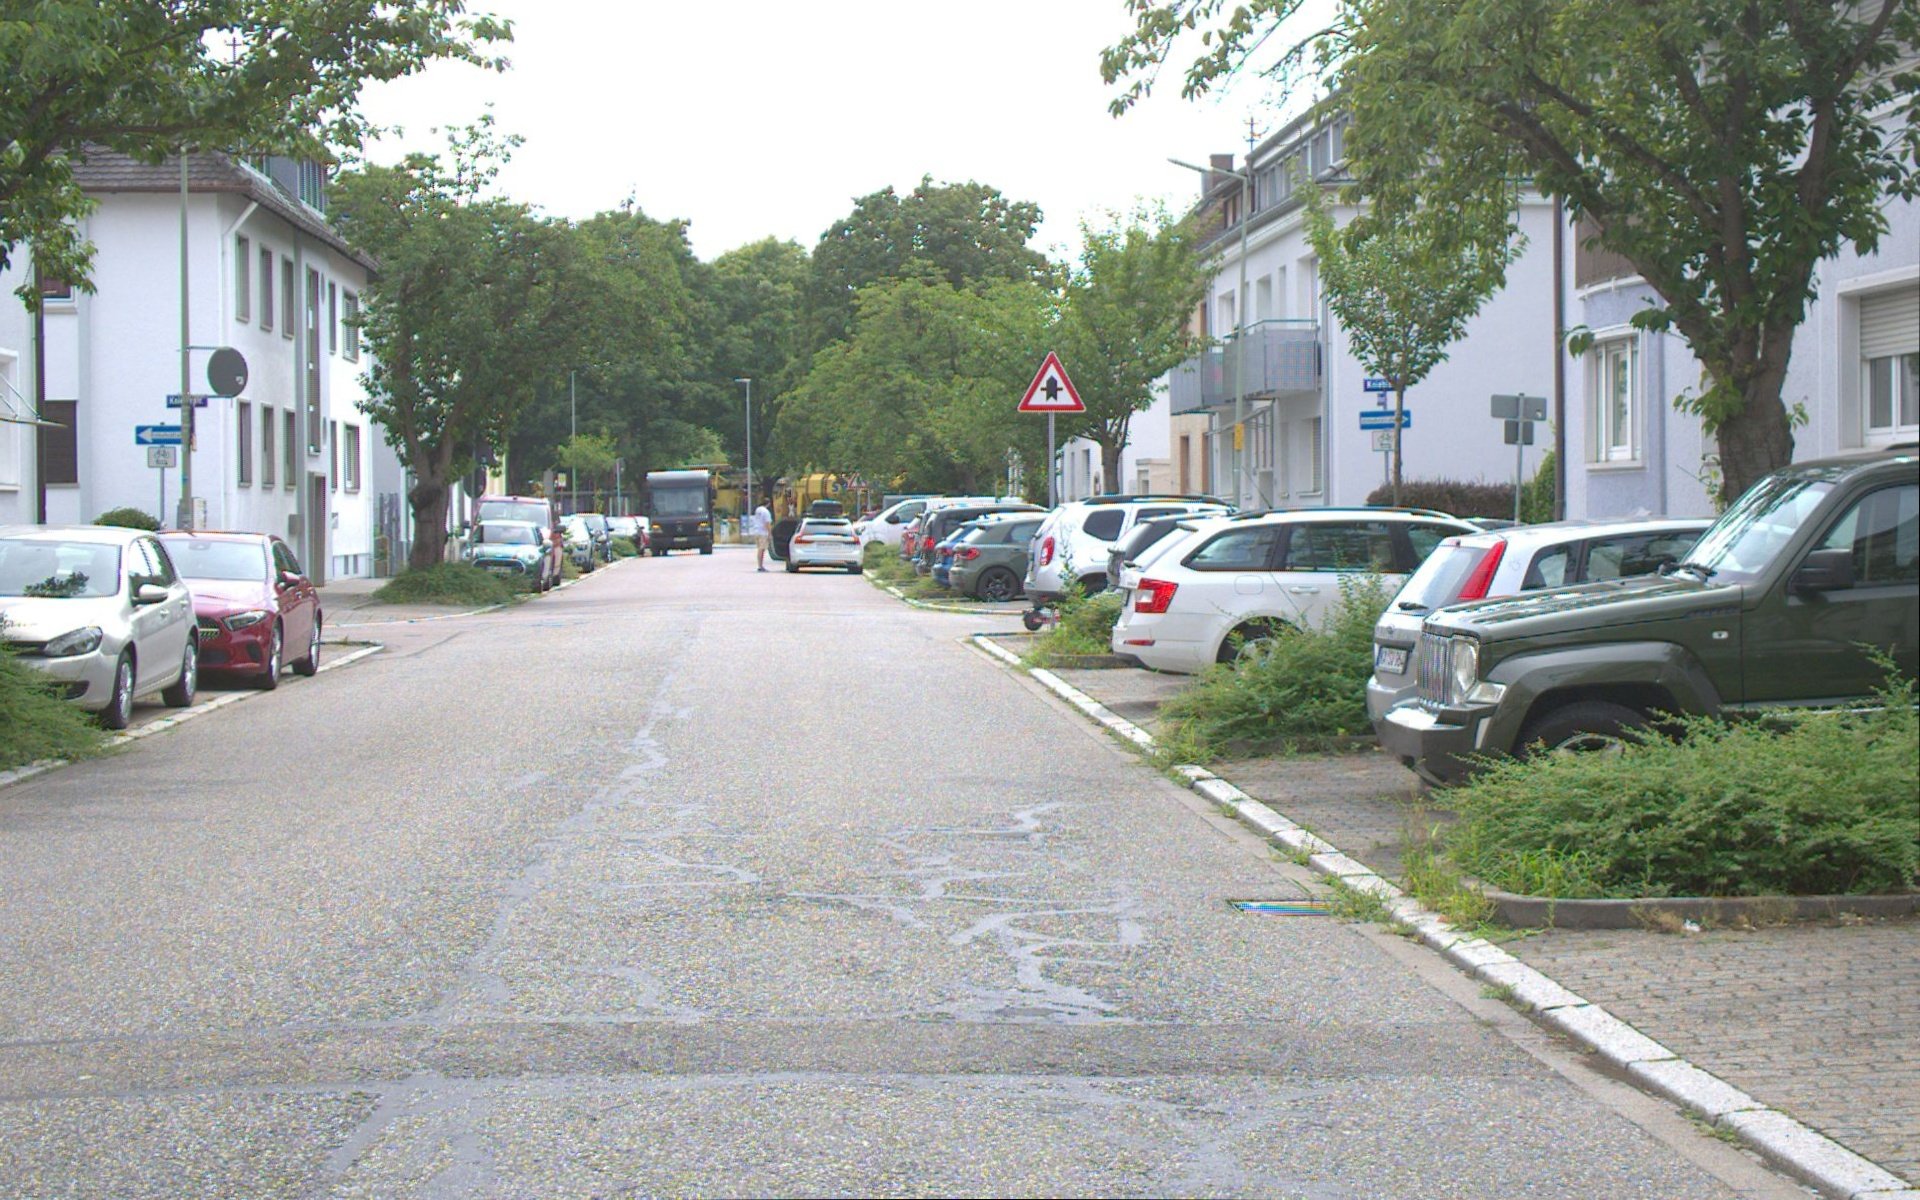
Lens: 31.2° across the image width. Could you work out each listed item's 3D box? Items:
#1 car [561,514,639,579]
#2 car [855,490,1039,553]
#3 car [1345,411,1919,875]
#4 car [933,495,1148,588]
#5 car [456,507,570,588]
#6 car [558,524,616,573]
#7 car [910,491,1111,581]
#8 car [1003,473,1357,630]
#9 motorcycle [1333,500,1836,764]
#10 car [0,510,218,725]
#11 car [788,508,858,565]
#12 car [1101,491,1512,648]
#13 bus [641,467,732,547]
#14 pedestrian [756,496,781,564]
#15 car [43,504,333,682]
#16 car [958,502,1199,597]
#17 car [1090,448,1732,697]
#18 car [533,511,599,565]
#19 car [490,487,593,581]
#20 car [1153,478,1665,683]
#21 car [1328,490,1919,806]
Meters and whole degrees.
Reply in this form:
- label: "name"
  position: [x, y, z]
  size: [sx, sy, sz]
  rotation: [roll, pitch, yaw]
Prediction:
- label: "car"
  position: [-8.627, -1.305, 82.506]
  size: [1.651, 1.456, 3.553]
  rotation: [-3, 2, -4]
- label: "car"
  position: [-0.384, -2.201, 96.370]
  size: [4.974, 1.513, 1.769]
  rotation: [-3, 1, -4]
- label: "car"
  position: [4.120, 0.106, 15.309]
  size: [4.525, 1.851, 1.793]
  rotation: [-3, 1, 0]
- label: "car"
  position: [1.352, -1.011, 58.816]
  size: [3.517, 1.407, 1.559]
  rotation: [-3, 1, -2]
- label: "car"
  position: [-9.112, -1.100, 70.339]
  size: [1.763, 1.548, 3.731]
  rotation: [-3, 2, 0]
- label: "car"
  position: [-10.673, -1.495, 98.551]
  size: [1.538, 1.297, 3.722]
  rotation: [-3, 2, -5]
- label: "car"
  position: [0.949, -1.239, 66.484]
  size: [3.747, 1.559, 1.773]
  rotation: [-3, 1, -2]
- label: "car"
  position: [2.544, -0.585, 40.405]
  size: [3.923, 1.627, 1.868]
  rotation: [-3, 1, -2]
- label: "motorcycle"
  position: [3.629, 0.163, 20.107]
  size: [2.700, 1.459, 1.032]
  rotation: [-1, 1, -7]
- label: "car"
  position: [-7.066, 0.071, 26.605]
  size: [1.771, 1.387, 4.275]
  rotation: [5, 1, -2]
- label: "car"
  position: [-3.491, -1.630, 87.861]
  size: [1.687, 1.349, 3.827]
  rotation: [-3, 2, -2]
- label: "car"
  position: [3.558, -0.330, 35.722]
  size: [3.986, 1.417, 1.713]
  rotation: [-3, 1, -3]
- label: "bus"
  position: [-10.087, -3.435, 127.627]
  size: [3.003, 2.751, 8.925]
  rotation: [-3, 2, -3]
- label: "pedestrian"
  position: [-4.857, -1.785, 87.132]
  size: [0.522, 1.698, 0.444]
  rotation: [-2, 1, 1]
- label: "car"
  position: [-7.186, -0.119, 32.456]
  size: [1.877, 1.481, 4.513]
  rotation: [-3, 2, -3]
- label: "car"
  position: [1.904, -0.827, 56.077]
  size: [3.747, 1.361, 1.773]
  rotation: [-3, 1, -2]
- label: "car"
  position: [3.410, -0.232, 26.617]
  size: [4.614, 1.658, 1.893]
  rotation: [-3, 1, -2]
- label: "car"
  position: [-10.695, -1.698, 93.477]
  size: [1.651, 1.372, 3.722]
  rotation: [-3, 2, -5]
- label: "car"
  position: [-9.303, -1.484, 76.719]
  size: [1.993, 2.007, 4.521]
  rotation: [-1, 1, -4]
- label: "car"
  position: [3.741, -0.184, 29.055]
  size: [3.986, 1.503, 1.713]
  rotation: [-3, 1, -3]
- label: "car"
  position: [3.952, 0.199, 18.210]
  size: [3.624, 1.449, 1.773]
  rotation: [-3, 1, -7]
